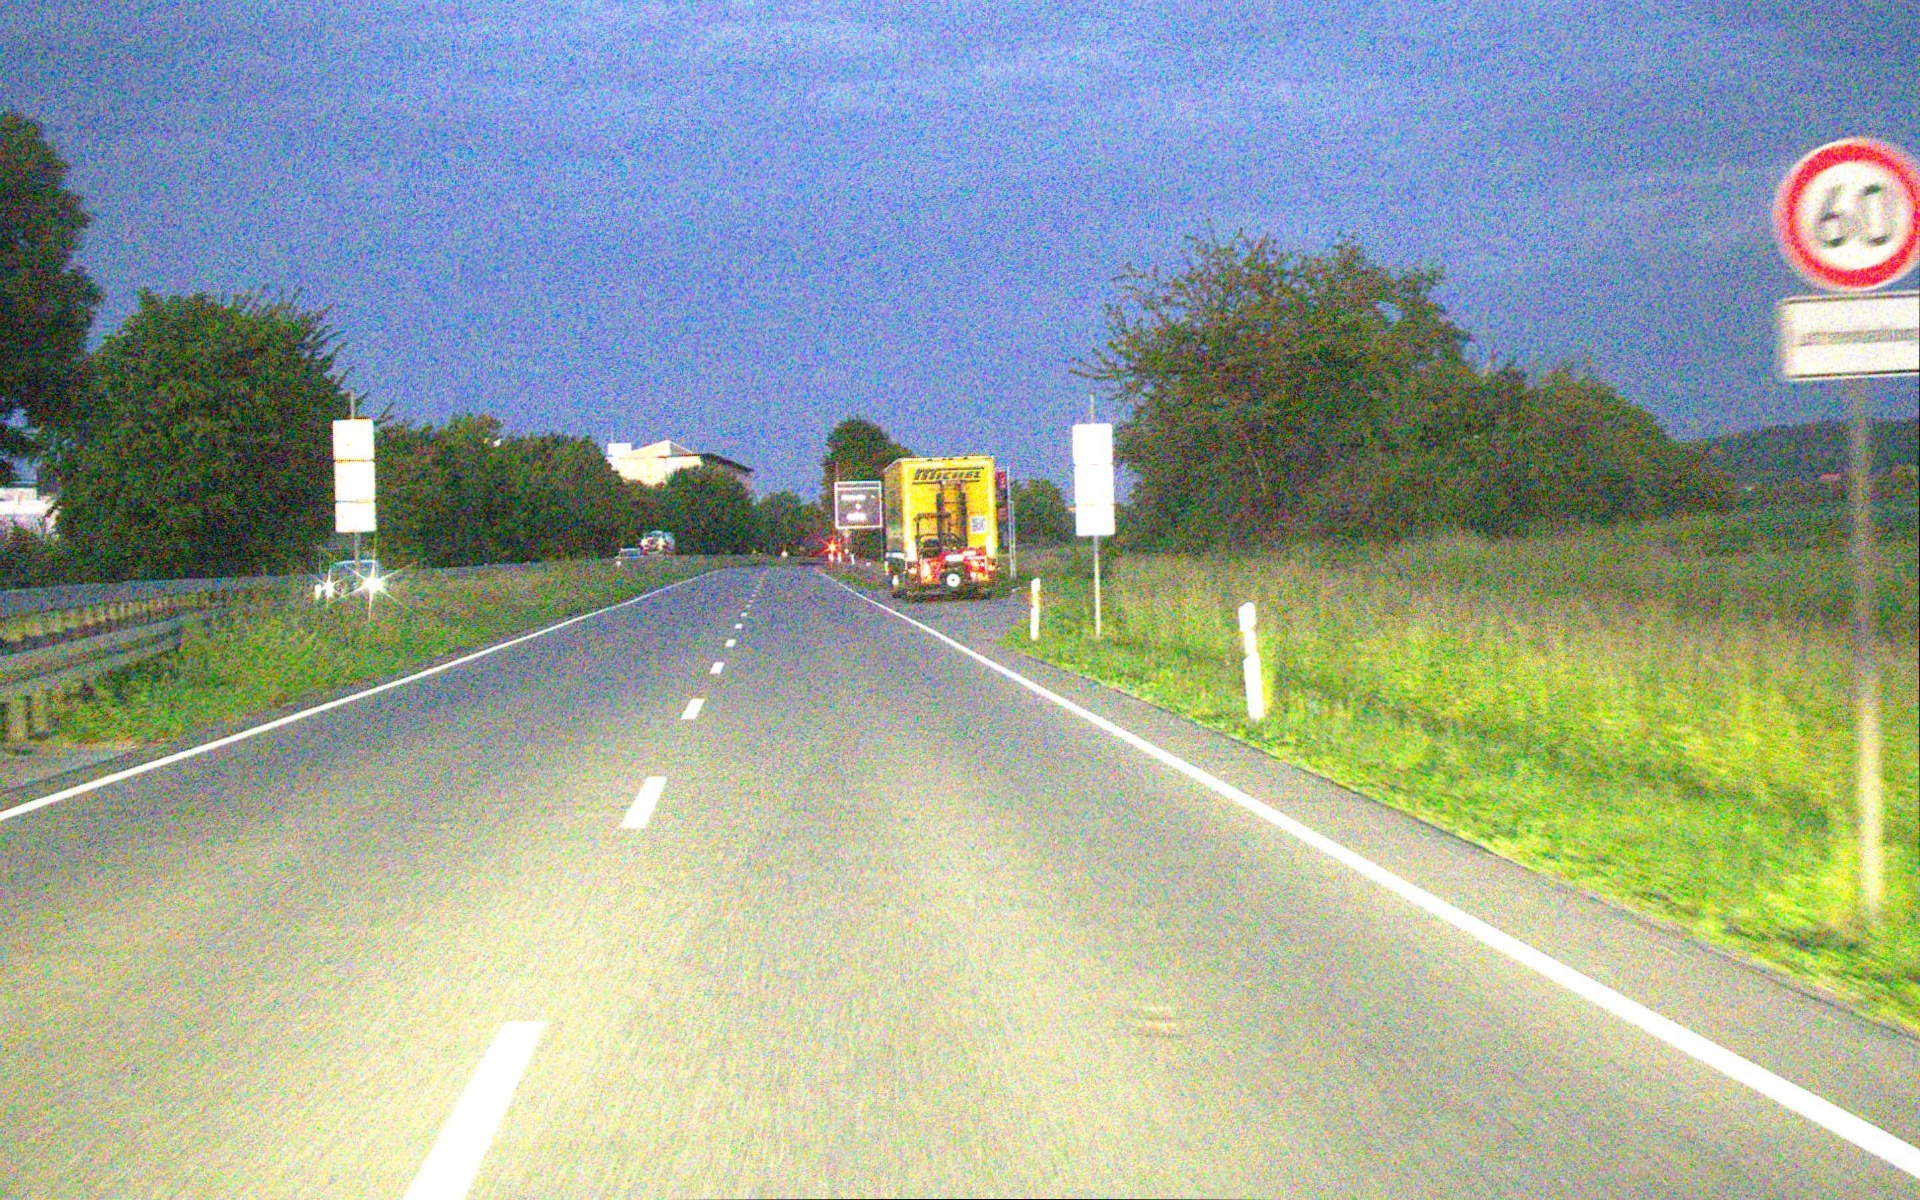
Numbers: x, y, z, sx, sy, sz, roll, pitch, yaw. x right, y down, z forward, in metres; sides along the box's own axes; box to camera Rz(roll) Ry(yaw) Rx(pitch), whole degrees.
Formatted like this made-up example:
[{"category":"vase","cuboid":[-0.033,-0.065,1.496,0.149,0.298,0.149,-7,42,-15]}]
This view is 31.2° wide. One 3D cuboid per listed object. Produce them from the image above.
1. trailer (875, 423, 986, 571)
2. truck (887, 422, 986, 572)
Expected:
[{"category":"trailer","cuboid":[-0.988,-2.984,102.641,2.622,4.090,12.939,-1,1,-3]},{"category":"truck","cuboid":[-0.697,-2.862,95.980,2.579,4.057,6.130,0,1,-2]}]
